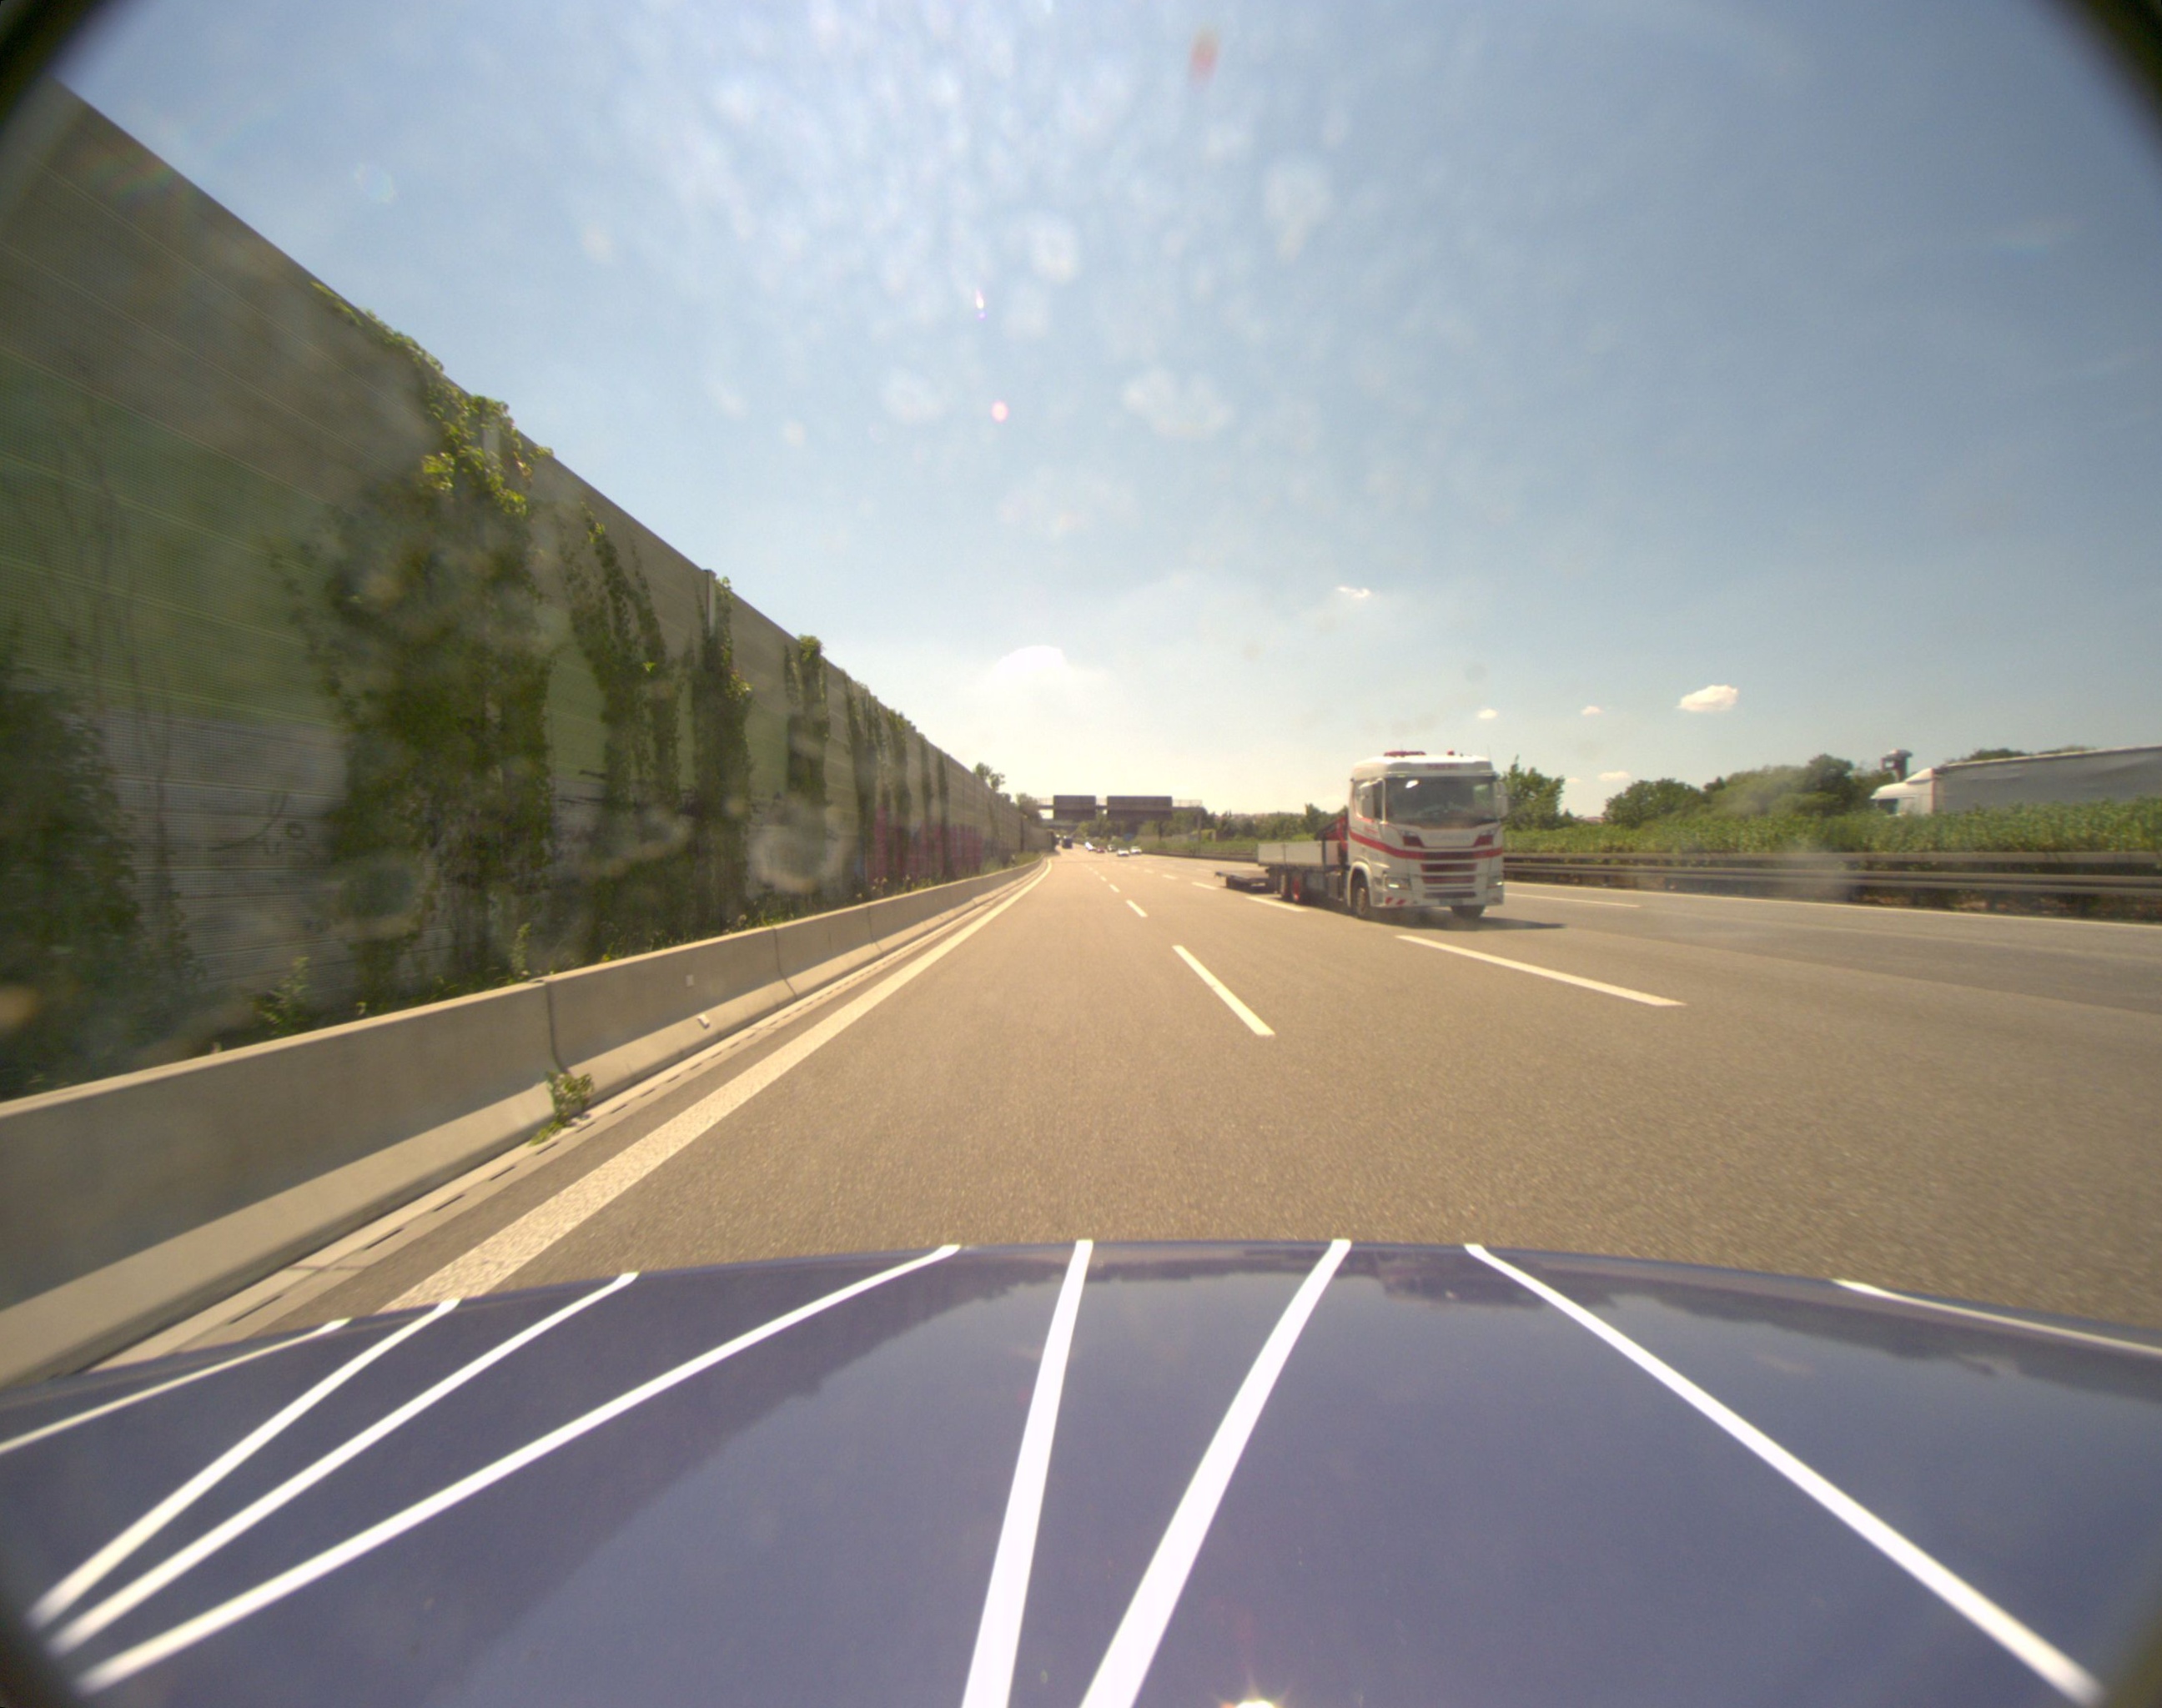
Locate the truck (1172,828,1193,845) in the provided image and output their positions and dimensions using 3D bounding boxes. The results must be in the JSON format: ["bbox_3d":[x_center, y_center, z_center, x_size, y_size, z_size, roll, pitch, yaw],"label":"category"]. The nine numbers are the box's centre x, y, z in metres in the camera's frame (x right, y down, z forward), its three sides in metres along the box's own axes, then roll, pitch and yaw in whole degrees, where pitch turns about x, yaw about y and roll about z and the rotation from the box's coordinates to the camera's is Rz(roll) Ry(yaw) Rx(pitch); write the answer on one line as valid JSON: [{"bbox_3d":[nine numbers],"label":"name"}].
[{"bbox_3d":[23.777,-4.083,177.886,3.010,3.945,10.317,-1,1,-3],"label":"truck"}]

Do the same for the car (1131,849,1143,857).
[{"bbox_3d":[10.620,-0.199,144.290,1.883,1.543,4.000,-1,0,1],"label":"car"}]

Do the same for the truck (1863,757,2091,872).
[{"bbox_3d":[33.685,-1.367,28.890,2.544,3.924,5.166,-1,1,-1],"label":"truck"}]

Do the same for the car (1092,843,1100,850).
[{"bbox_3d":[3.857,-1.928,196.886,1.998,1.832,4.000,-1,0,1],"label":"car"}]

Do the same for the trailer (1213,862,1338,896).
[{"bbox_3d":[7.130,0.876,29.063,2.721,0.929,7.758,-1,0,0],"label":"trailer"}]

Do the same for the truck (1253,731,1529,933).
[{"bbox_3d":[7.132,-0.445,19.832,2.721,3.780,10.670,-1,0,0],"label":"truck"}]

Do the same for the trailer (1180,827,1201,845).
[{"bbox_3d":[24.187,-3.927,168.378,2.931,3.945,8.655,-1,1,-3],"label":"trailer"}]

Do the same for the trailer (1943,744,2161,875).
[{"bbox_3d":[33.790,-1.360,21.747,2.544,3.924,13.718,-1,0,-1],"label":"trailer"}]

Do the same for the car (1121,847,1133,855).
[{"bbox_3d":[8.052,-0.534,133.583,1.786,1.494,4.170,0,1,-1],"label":"car"}]

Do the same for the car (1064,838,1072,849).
[{"bbox_3d":[-4.211,-3.414,242.093,2.116,3.284,6.441,-2,0,-5],"label":"car"}]
